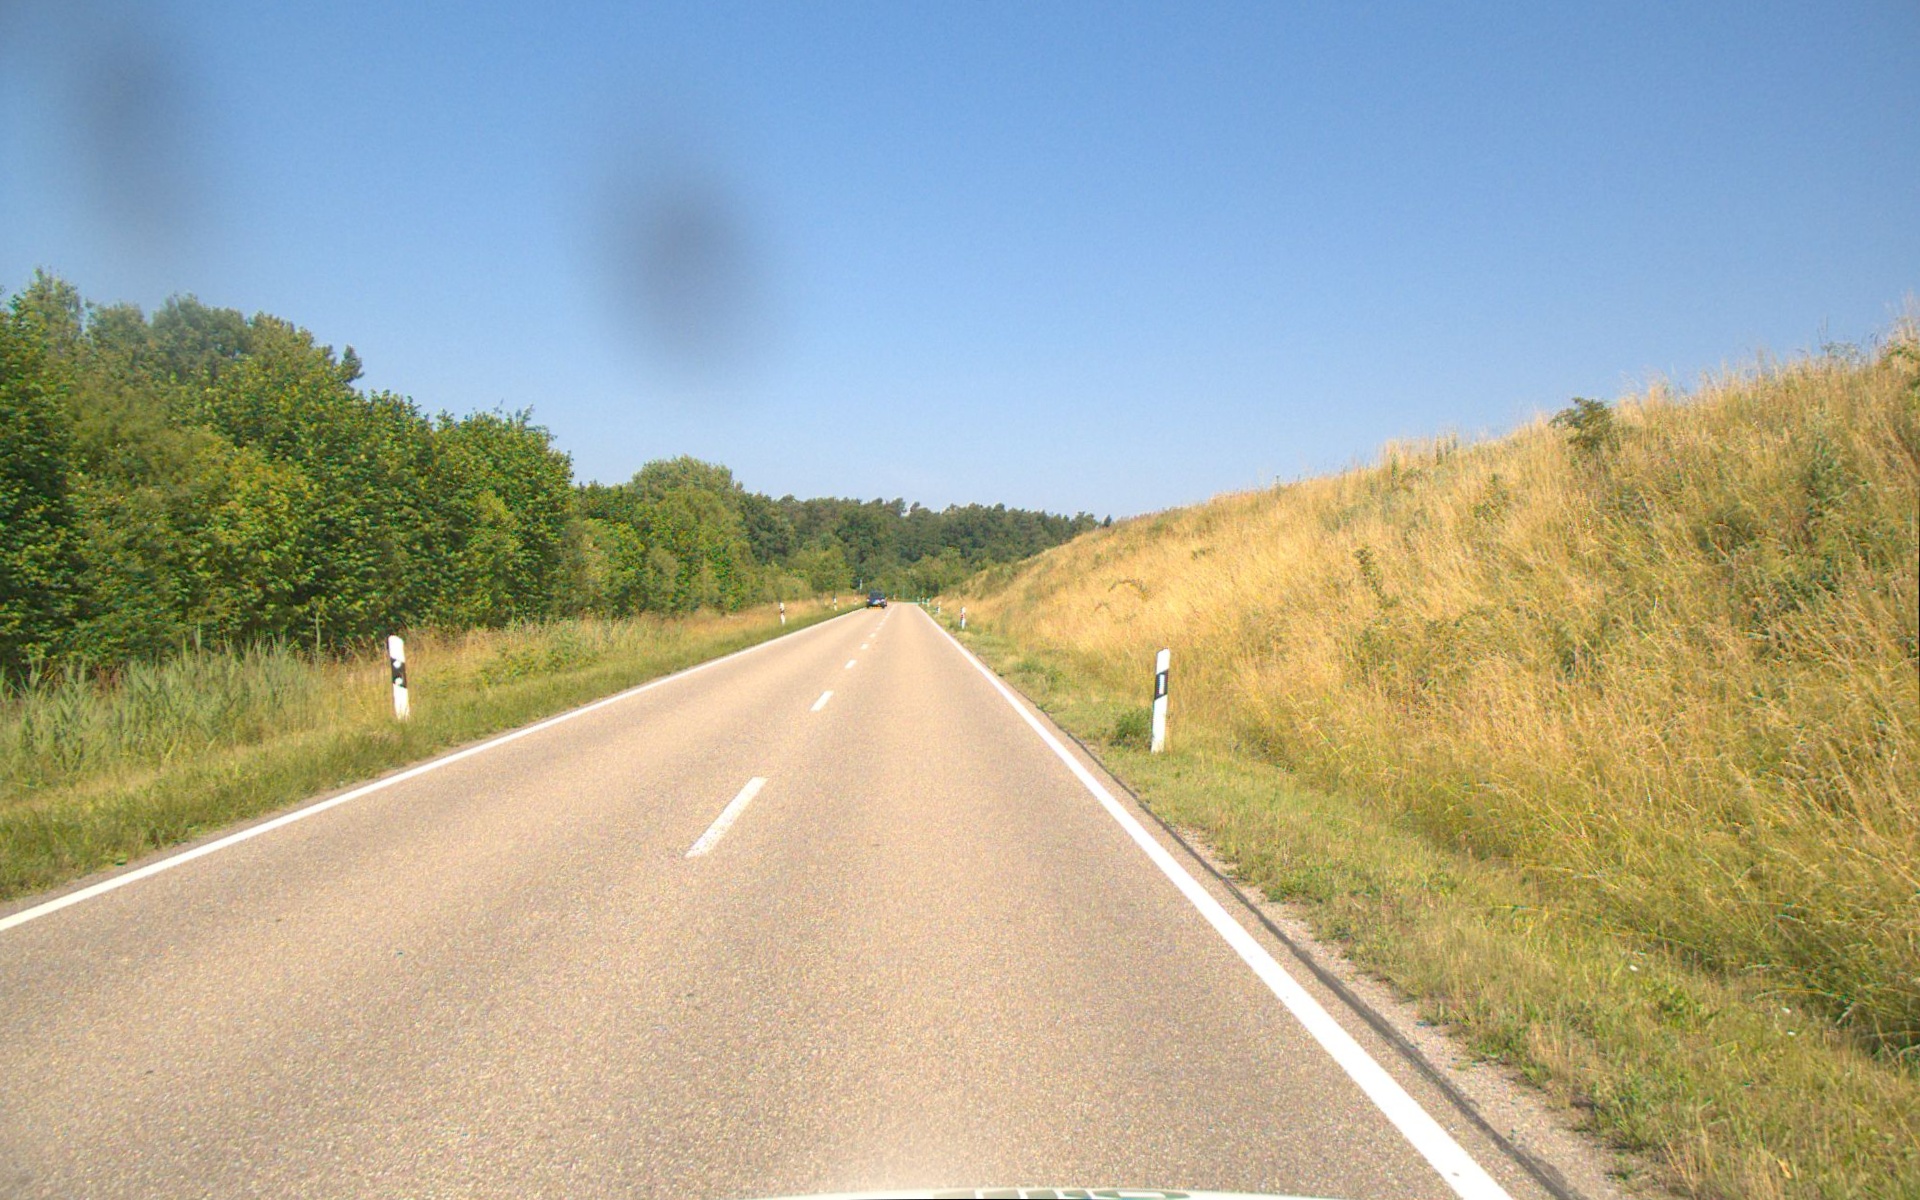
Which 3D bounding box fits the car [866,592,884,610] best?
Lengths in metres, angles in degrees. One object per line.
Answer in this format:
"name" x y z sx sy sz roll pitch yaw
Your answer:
"car" -8.342 0.081 162.018 1.682 1.675 3.913 1 0 -3
